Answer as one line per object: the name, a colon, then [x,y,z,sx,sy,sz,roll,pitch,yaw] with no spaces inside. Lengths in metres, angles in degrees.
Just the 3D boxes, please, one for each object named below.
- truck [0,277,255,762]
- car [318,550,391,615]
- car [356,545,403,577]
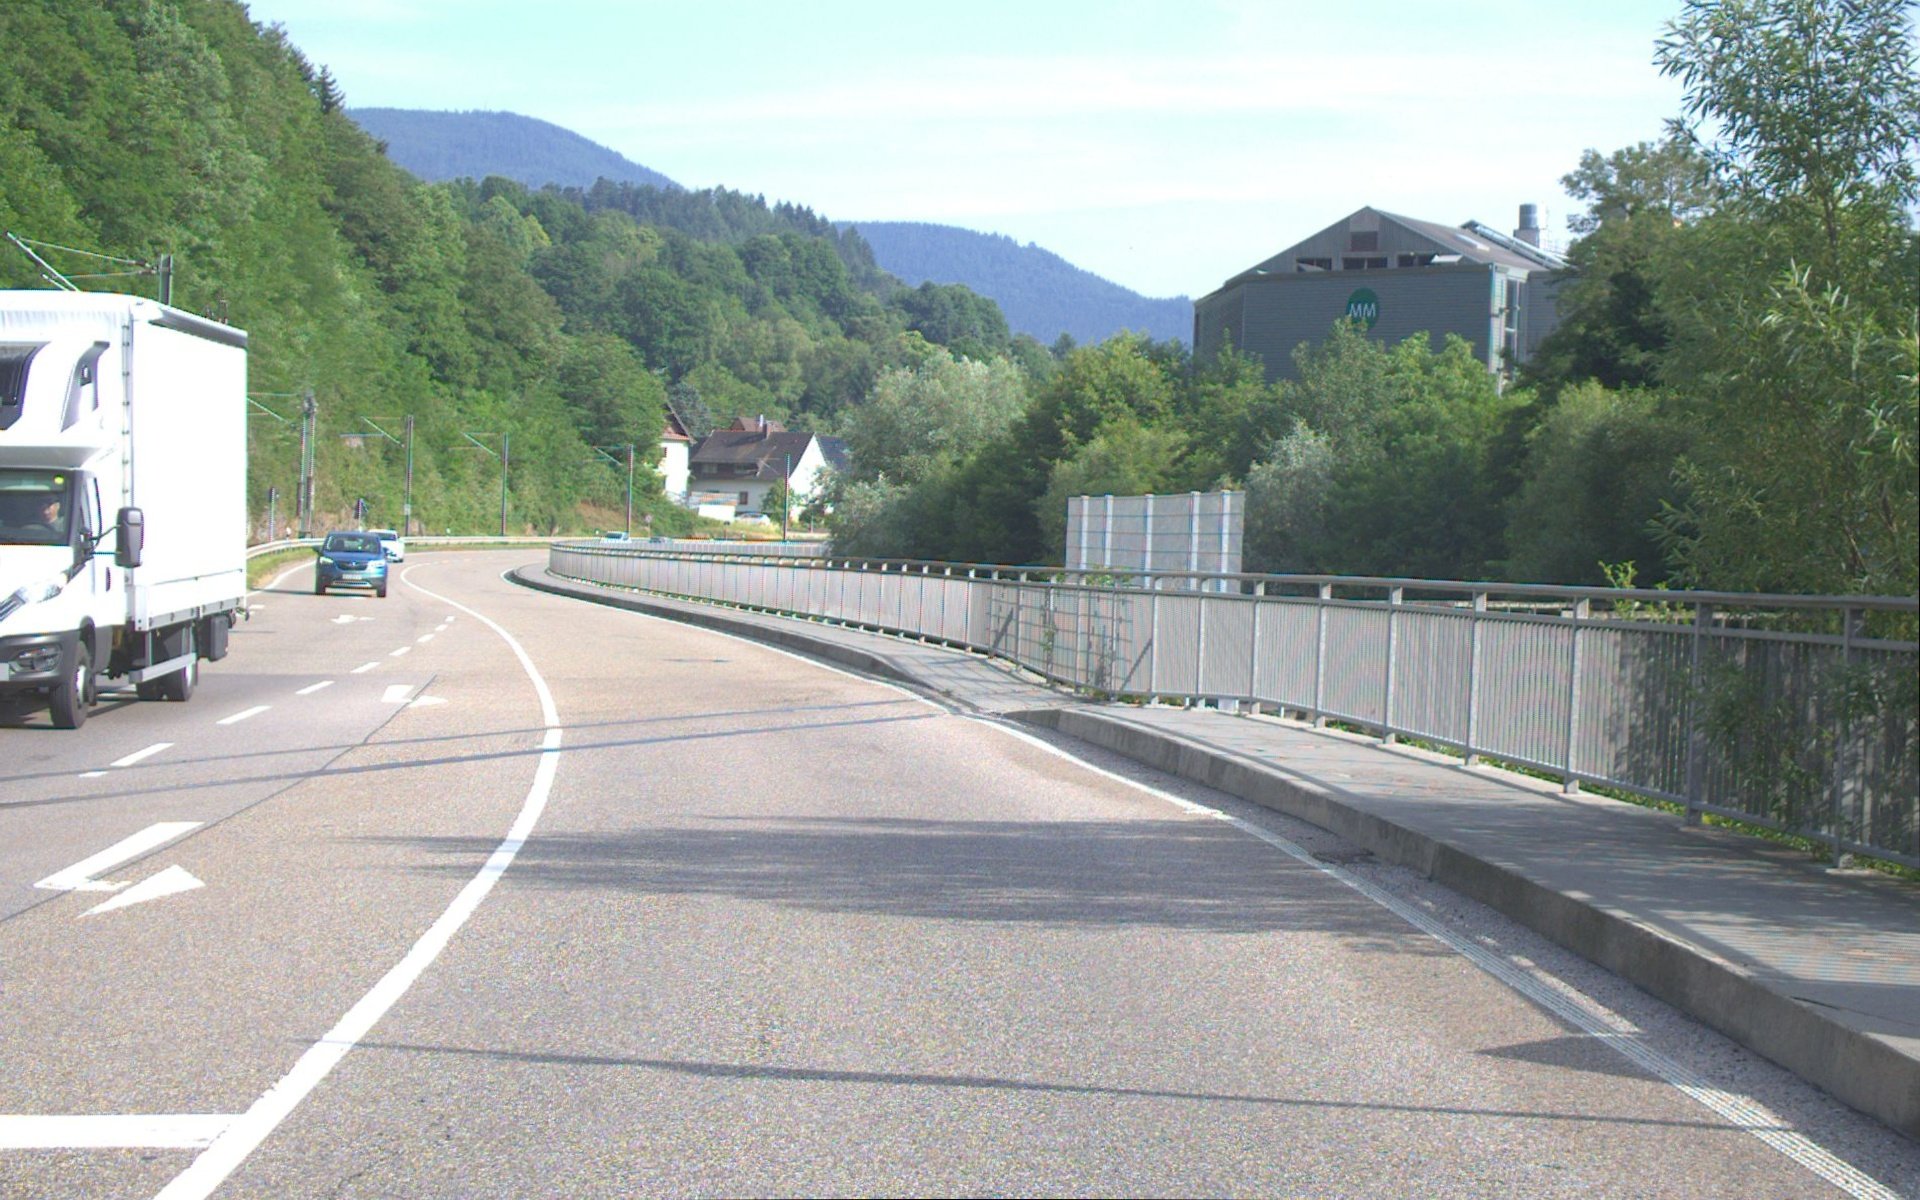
truck: [-8.431,-0.703,31.209,2.896,3.786,8.896,0,1,-5]
car: [-15.035,-0.439,85.285,1.718,1.565,4.136,0,1,-10]
car: [-26.582,-1.791,157.488,2.063,1.434,4.687,0,1,-9]
